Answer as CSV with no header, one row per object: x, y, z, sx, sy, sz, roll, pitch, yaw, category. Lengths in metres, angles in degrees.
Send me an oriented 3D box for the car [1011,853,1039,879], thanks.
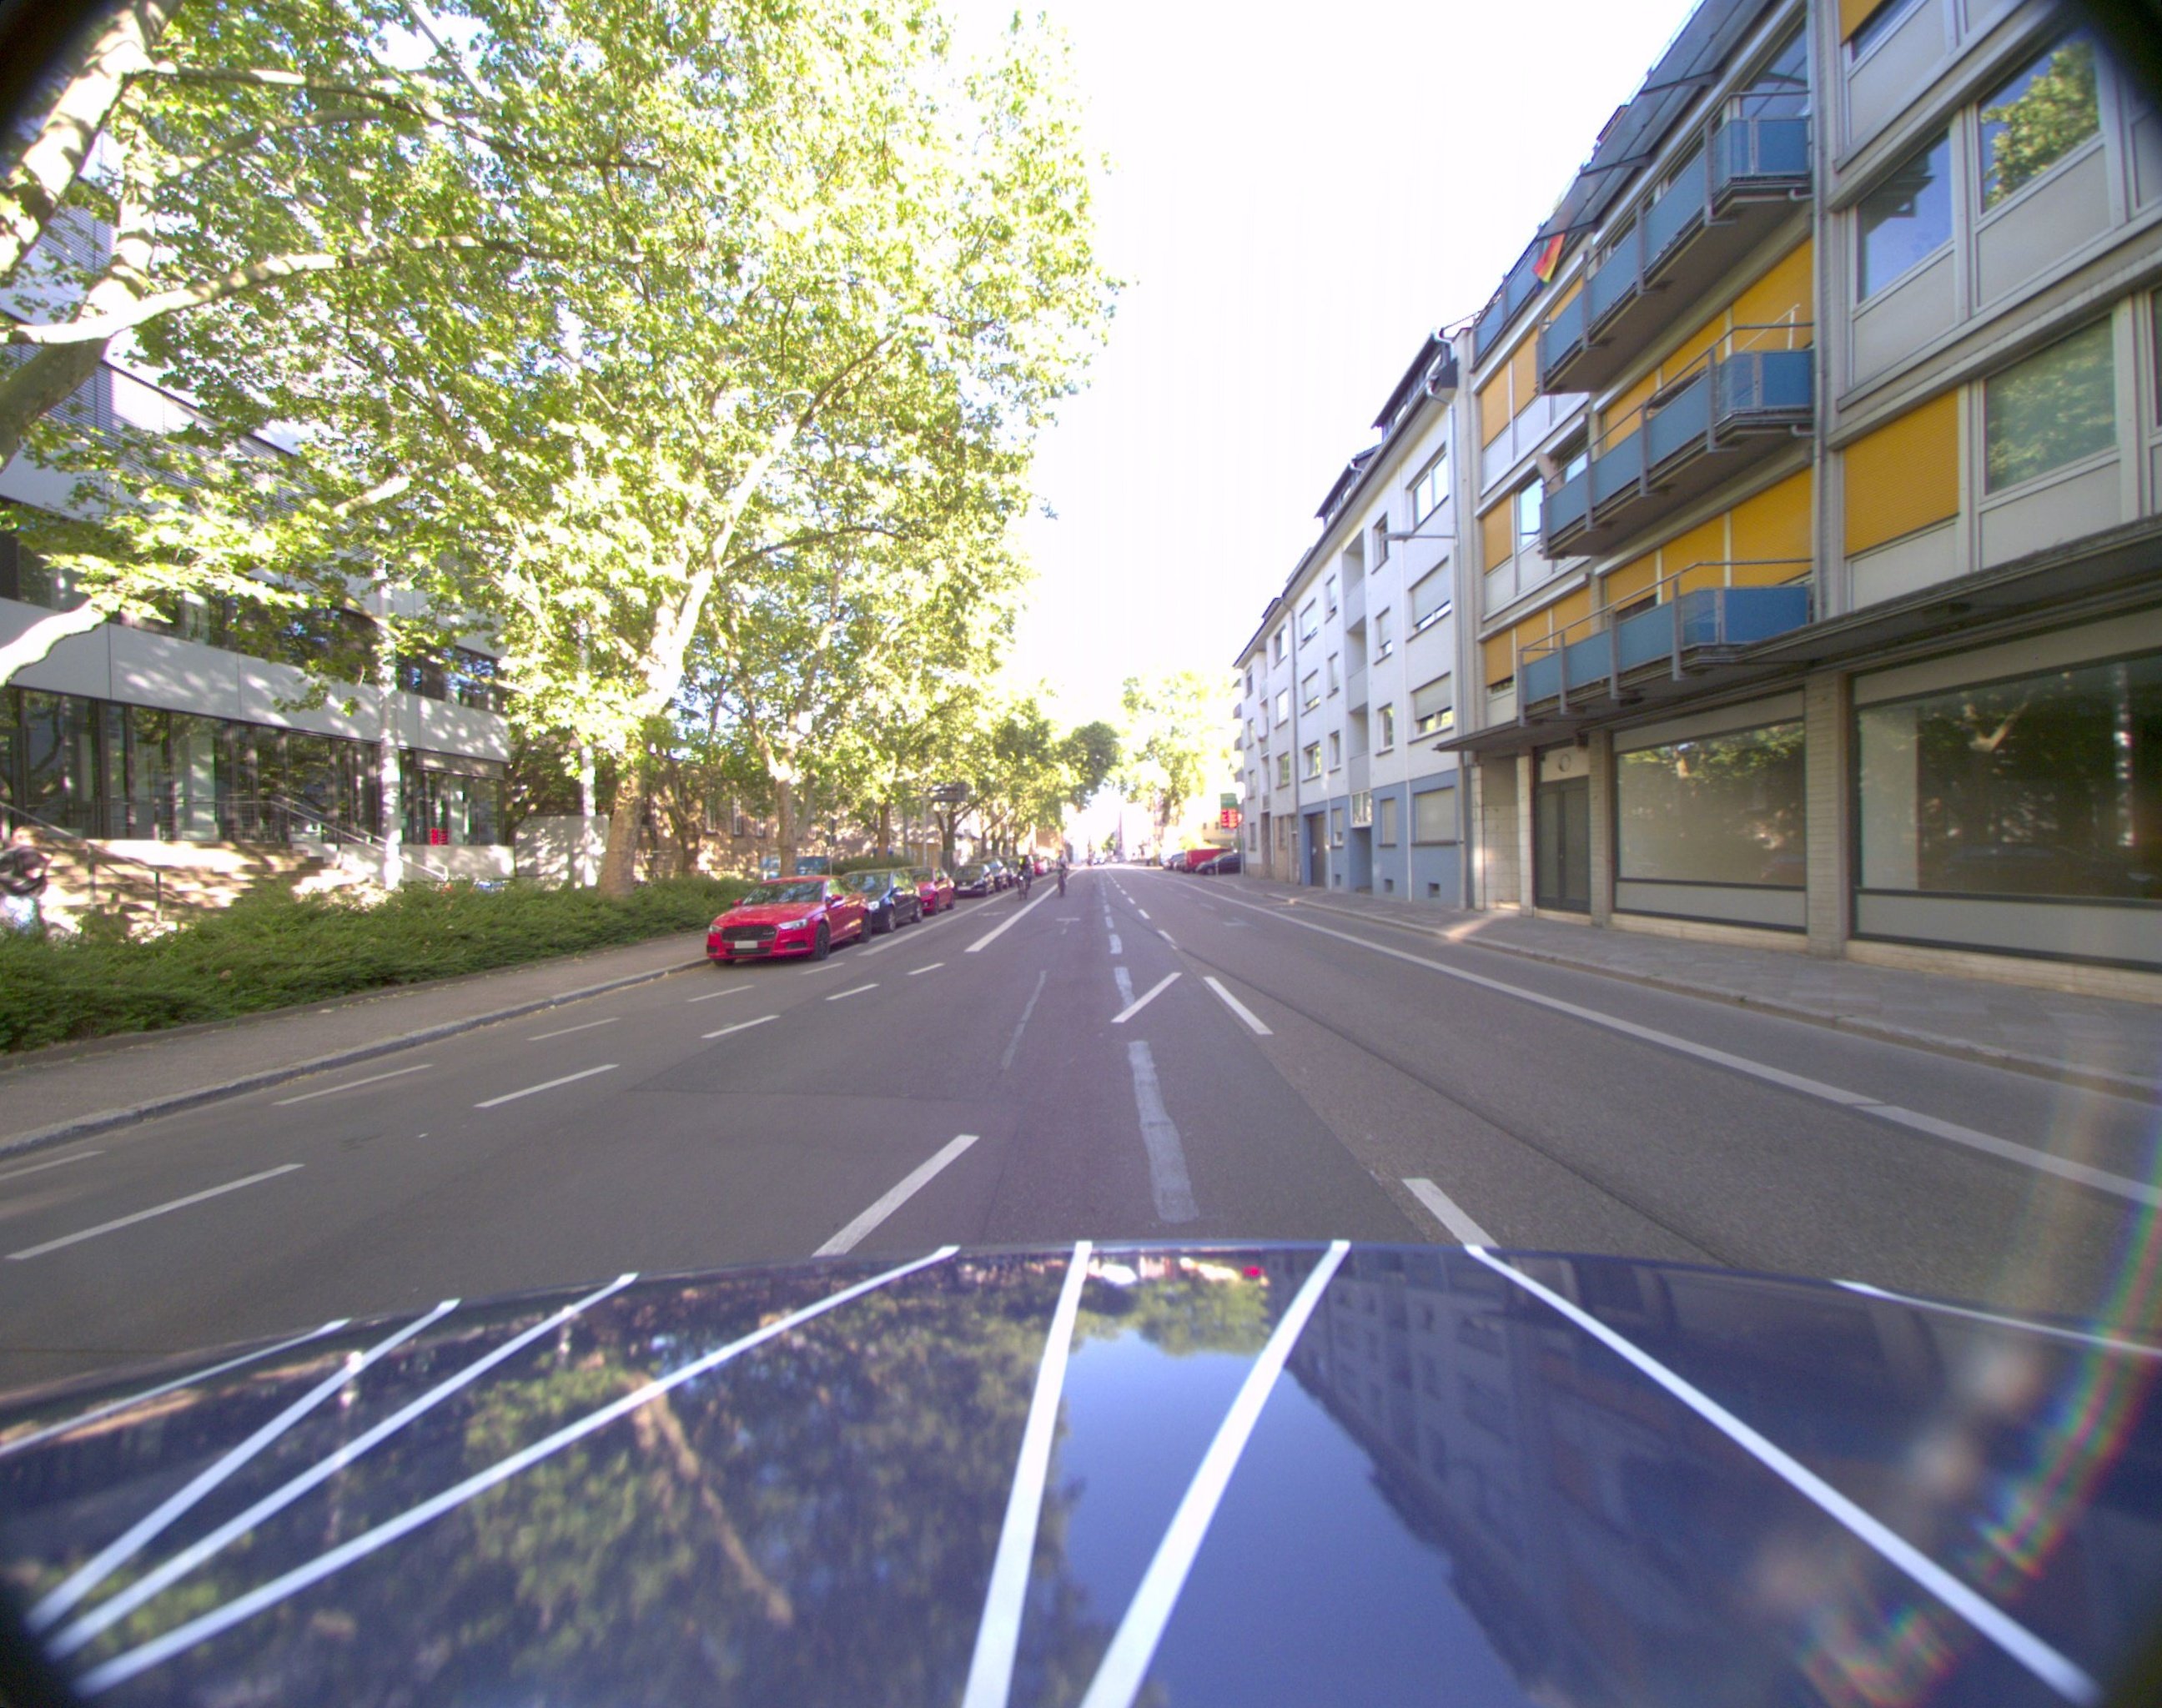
-4.044,0.816,55.235,1.634,1.725,3.769,-2,1,0,car

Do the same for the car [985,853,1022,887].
-4.462,0.855,44.236,1.634,1.781,4.576,-2,1,0,car

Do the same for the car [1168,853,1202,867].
10.316,0.588,75.463,3.271,1.238,1.345,-2,1,2,car

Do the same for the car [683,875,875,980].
-5.168,1.182,13.653,1.794,1.384,3.999,-2,1,0,car

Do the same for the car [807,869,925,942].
-5.057,1.165,18.407,1.669,1.410,3.697,-2,1,1,car

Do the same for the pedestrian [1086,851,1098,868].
1.155,0.581,79.400,0.894,1.727,0.827,-3,1,-41,pedestrian

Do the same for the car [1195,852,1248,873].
10.085,0.596,54.725,3.508,1.380,1.490,-2,1,2,car

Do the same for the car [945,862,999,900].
-4.700,1.113,33.232,1.692,1.414,3.923,-2,1,0,car

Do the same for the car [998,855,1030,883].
-4.360,0.941,50.108,1.634,1.604,4.576,-2,1,0,car

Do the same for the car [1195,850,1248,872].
10.528,0.491,57.094,3.687,1.503,1.490,-2,1,2,car

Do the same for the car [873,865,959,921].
-5.020,1.135,23.680,1.692,1.441,3.923,-2,1,1,car

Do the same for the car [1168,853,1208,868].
10.261,0.633,73.025,3.687,1.238,1.345,-2,1,2,car

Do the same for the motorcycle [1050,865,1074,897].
-0.741,1.060,30.413,0.865,1.161,1.929,-2,1,1,motorcycle

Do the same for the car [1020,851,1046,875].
-4.177,0.724,66.087,1.915,1.940,3.769,-2,1,0,car

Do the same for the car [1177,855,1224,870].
9.805,0.700,62.584,3.687,1.122,1.345,-2,1,2,car

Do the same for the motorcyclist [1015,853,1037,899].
-2.128,0.845,29.487,0.719,1.733,0.751,-2,1,1,motorcyclist

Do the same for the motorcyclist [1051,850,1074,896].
-0.752,0.738,30.568,0.833,1.778,0.913,-2,1,1,motorcyclist

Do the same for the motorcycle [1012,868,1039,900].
-2.136,1.149,29.565,0.799,1.125,2.236,-2,1,1,motorcycle

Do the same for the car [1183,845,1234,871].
10.054,0.327,59.939,3.688,1.897,1.490,-2,-1,-1,car

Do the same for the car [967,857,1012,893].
-4.525,0.994,38.103,1.634,1.569,4.231,-2,1,0,car

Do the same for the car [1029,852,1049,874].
-3.910,0.807,70.999,1.599,1.835,3.769,-2,1,0,car

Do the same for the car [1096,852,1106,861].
3.677,0.476,138.488,1.752,1.423,4.266,-2,0,2,car

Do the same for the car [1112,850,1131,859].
9.241,0.026,174.130,4.008,2.002,1.994,-2,1,-42,car

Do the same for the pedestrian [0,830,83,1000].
-12.877,0.723,9.255,0.552,2.002,0.562,-2,1,-11,pedestrian
